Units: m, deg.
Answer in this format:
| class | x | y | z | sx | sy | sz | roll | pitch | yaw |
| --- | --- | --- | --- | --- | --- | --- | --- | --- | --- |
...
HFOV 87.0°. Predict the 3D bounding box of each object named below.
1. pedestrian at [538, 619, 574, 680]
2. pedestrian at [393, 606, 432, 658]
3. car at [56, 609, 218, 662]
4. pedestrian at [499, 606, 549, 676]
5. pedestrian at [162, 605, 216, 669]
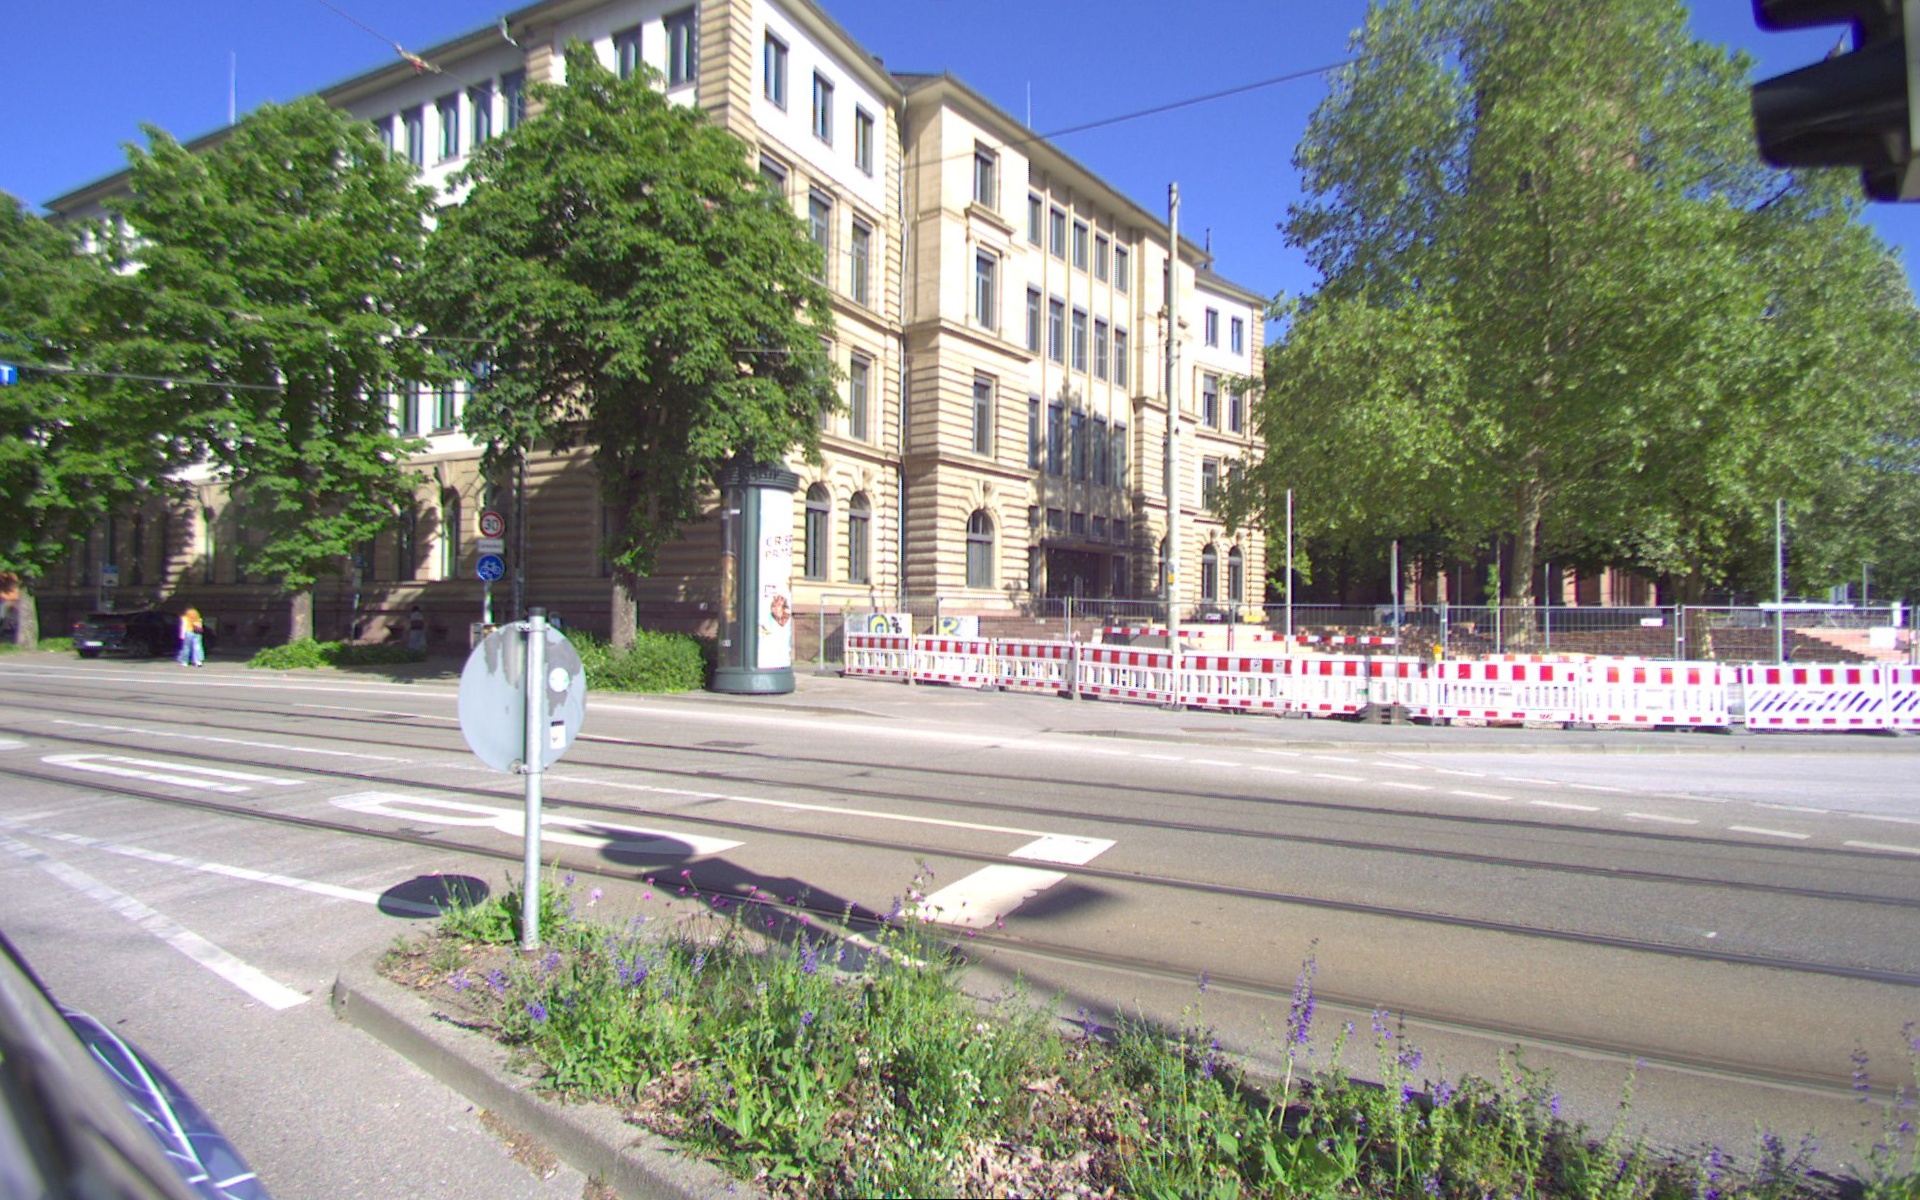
| class | x | y | z | sx | sy | sz | roll | pitch | yaw |
| --- | --- | --- | --- | --- | --- | --- | --- | --- | --- |
| pedestrian | -10.571 | 1.291 | 26.469 | 0.651 | 1.574 | 0.573 | 0 | -2 | 28 |
| pedestrian | -17.427 | 1.013 | 32.209 | 0.853 | 1.578 | 0.668 | 0 | 2 | 24 |
| car | -26.553 | 1.134 | 32.860 | 1.894 | 1.586 | 4.109 | 0 | -1 | 1 |
| pedestrian | -10.980 | 1.015 | 25.485 | 0.842 | 1.682 | 0.723 | 2 | 0 | 26 |
| pedestrian | -21.340 | 1.037 | 28.014 | 1.027 | 1.682 | 0.765 | -4 | -5 | 24 |
